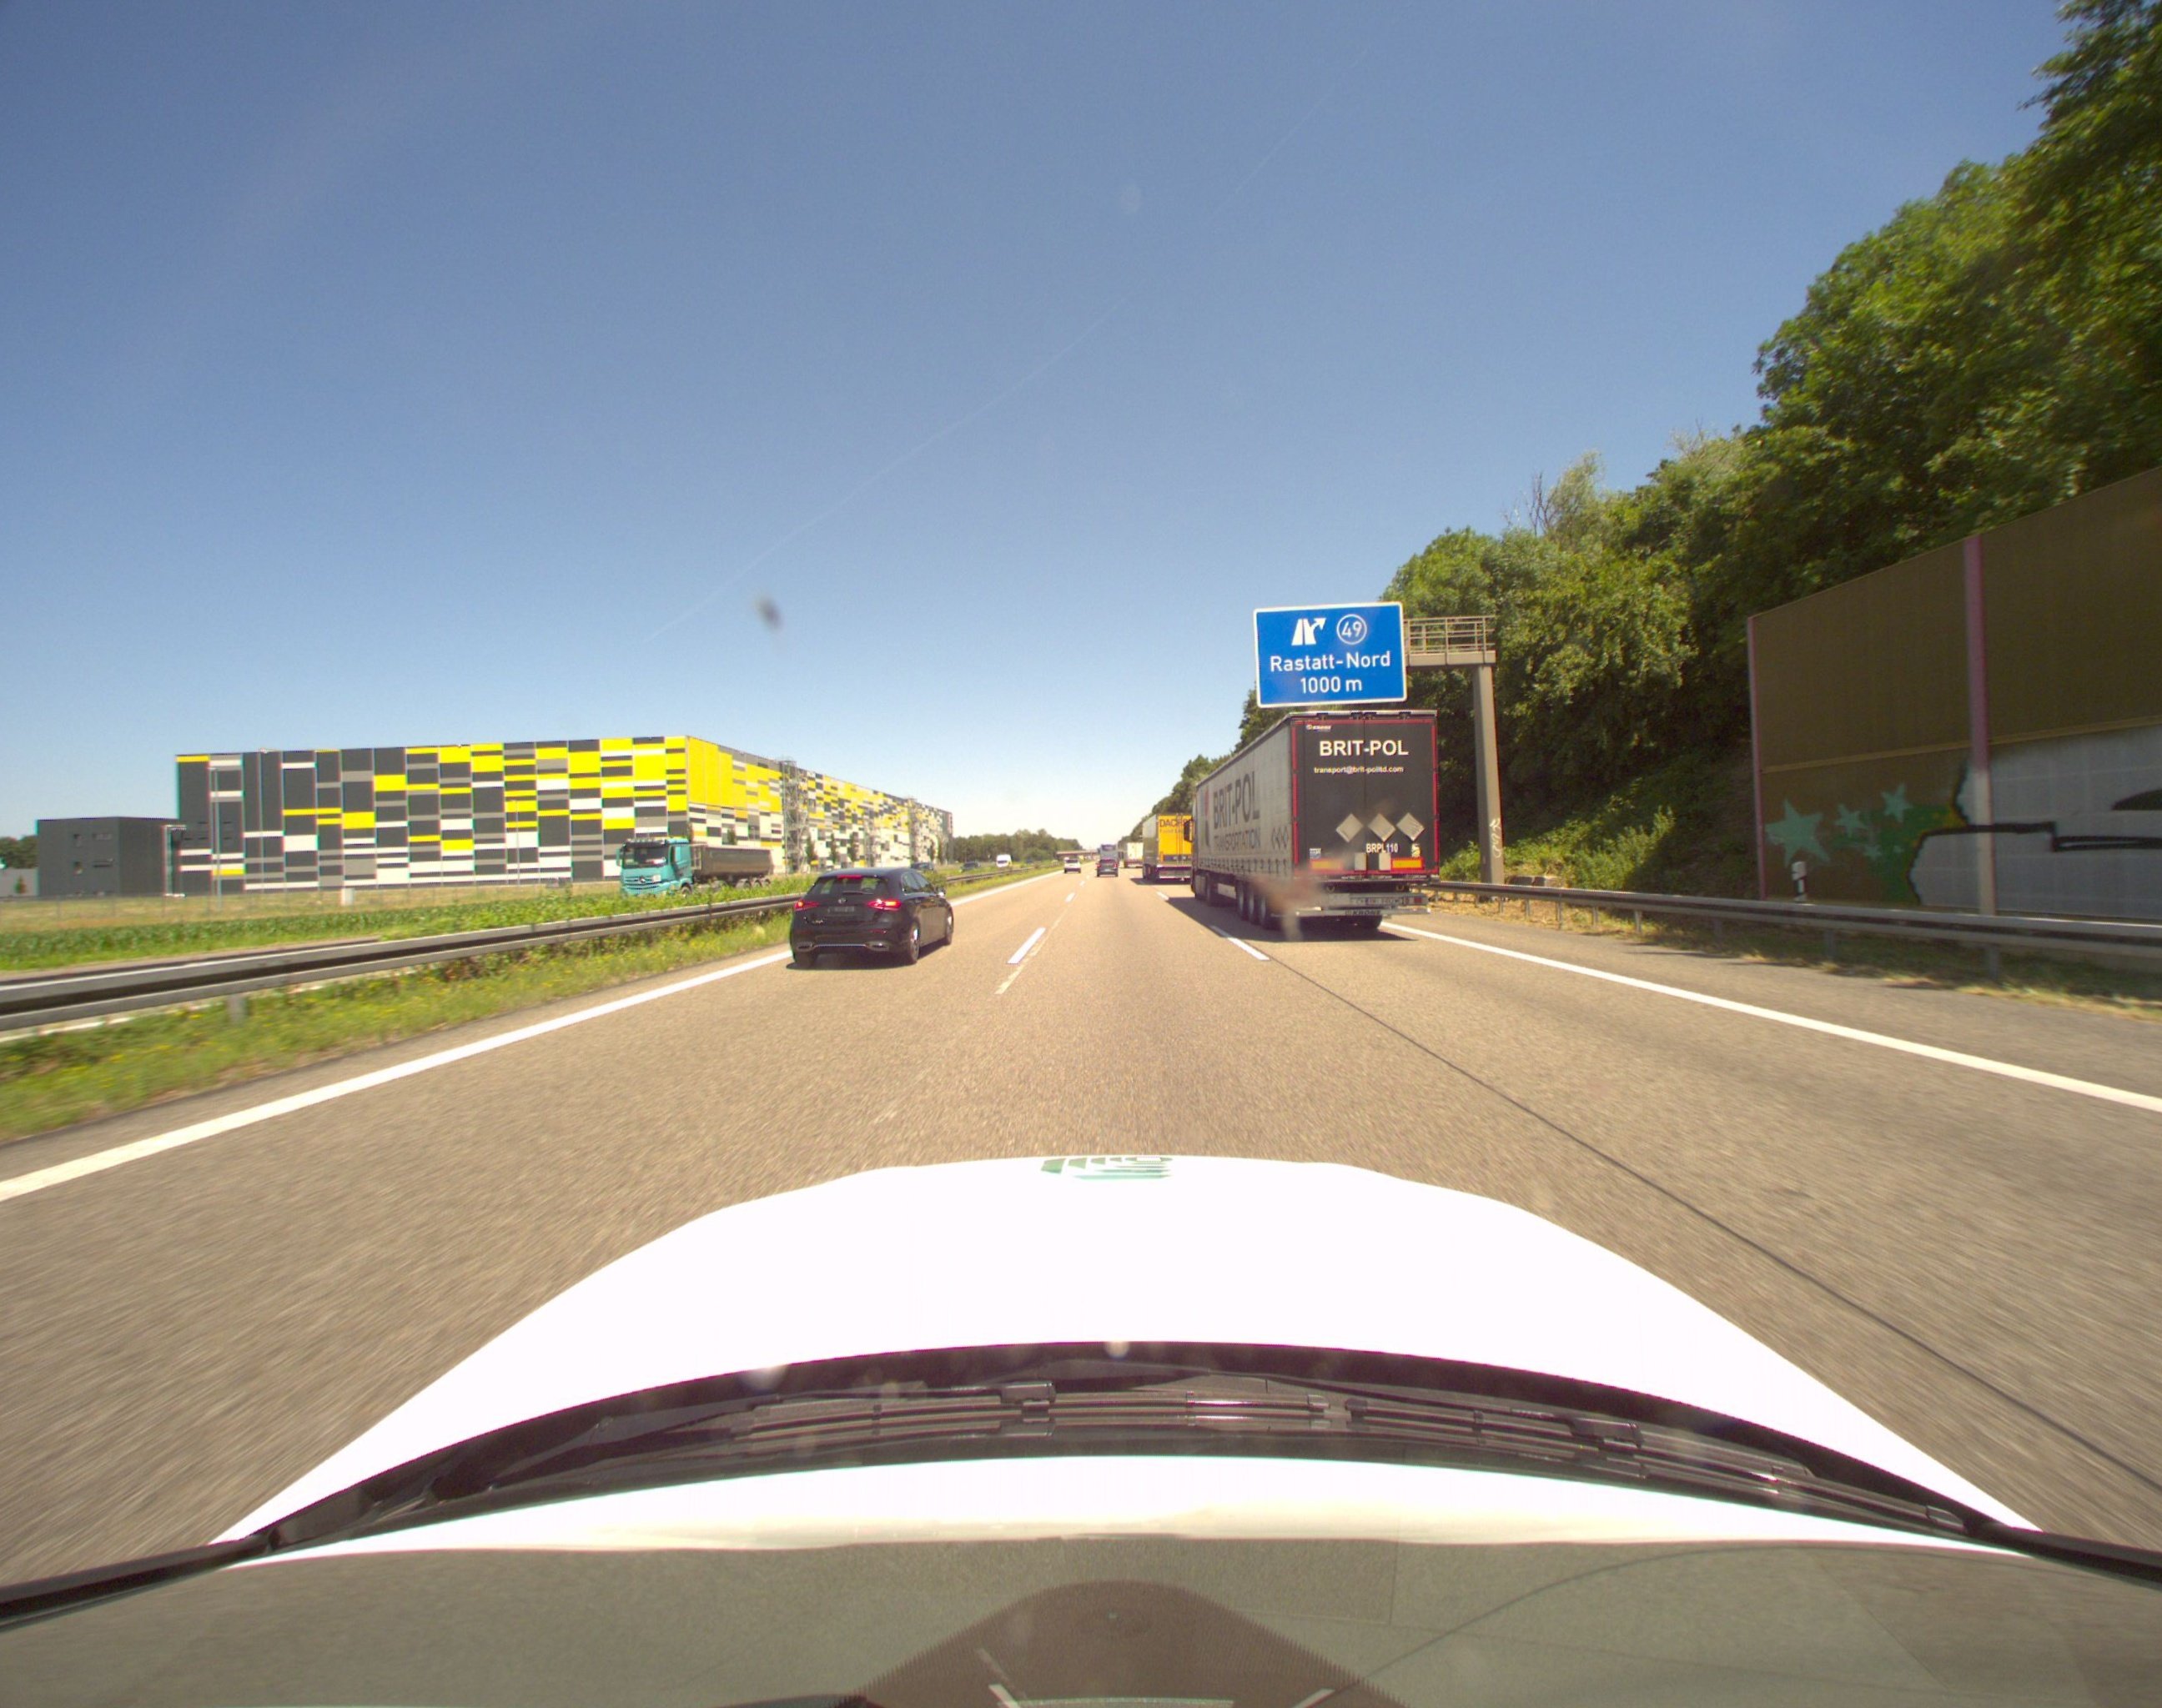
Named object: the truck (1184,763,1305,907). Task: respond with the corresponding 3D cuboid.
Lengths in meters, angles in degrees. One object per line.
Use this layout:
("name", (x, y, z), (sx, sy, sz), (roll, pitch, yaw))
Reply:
("truck", (5.436, -0.546, 28.234), (3.076, 4.441, 6.054), (-1, -1, 1))

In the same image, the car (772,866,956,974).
("car", (-3.286, 0.932, 13.181), (1.786, 1.412, 4.053), (-1, 0, 1))

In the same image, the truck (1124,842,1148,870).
("truck", (8.422, 0.313, 125.938), (3.409, 4.126, 9.569), (-3, 0, 2))

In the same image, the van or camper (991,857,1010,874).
("van or camper", (-13.291, 1.908, 134.763), (2.413, 2.534, 6.176), (-4, -1, 1))

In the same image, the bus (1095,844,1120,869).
("bus", (3.683, 0.357, 114.442), (3.052, 3.326, 8.273), (-3, 0, 0))

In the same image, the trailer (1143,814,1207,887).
("trailer", (5.599, -0.187, 50.586), (2.824, 3.954, 11.686), (-1, 0, 1))

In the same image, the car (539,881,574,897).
("car", (-66.338, 4.426, 103.138), (1.679, 1.727, 4.111), (-2, -1, 0))

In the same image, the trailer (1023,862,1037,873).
("trailer", (-8.827, 2.289, 141.786), (1.987, 1.758, 4.857), (-3, 0, 1))

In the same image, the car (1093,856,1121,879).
("car", (2.194, 1.151, 68.666), (2.208, 1.790, 5.394), (-2, 0, 1))

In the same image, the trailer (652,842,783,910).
("trailer", (-19.346, 1.146, 44.200), (2.665, 3.238, 9.261), (-2, -1, 2))

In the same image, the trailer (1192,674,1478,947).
("trailer", (5.224, -0.648, 20.984), (3.094, 4.507, 14.900), (-1, -1, 2))

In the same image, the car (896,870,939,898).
("car", (-11.273, 2.033, 56.493), (1.862, 1.742, 4.723), (-2, 0, 2))

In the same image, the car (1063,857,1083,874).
("car", (-0.865, 1.254, 88.108), (1.987, 1.728, 4.130), (-1, 0, 1))

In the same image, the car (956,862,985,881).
("car", (-10.886, 1.728, 80.850), (2.020, 1.778, 4.844), (-2, 0, 2))

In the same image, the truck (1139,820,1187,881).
("truck", (5.770, -0.230, 58.159), (2.803, 4.006, 6.645), (-2, -1, 1))

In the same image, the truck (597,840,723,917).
("truck", (-19.563, 1.083, 38.280), (2.688, 3.250, 5.840), (-2, -1, 2))
